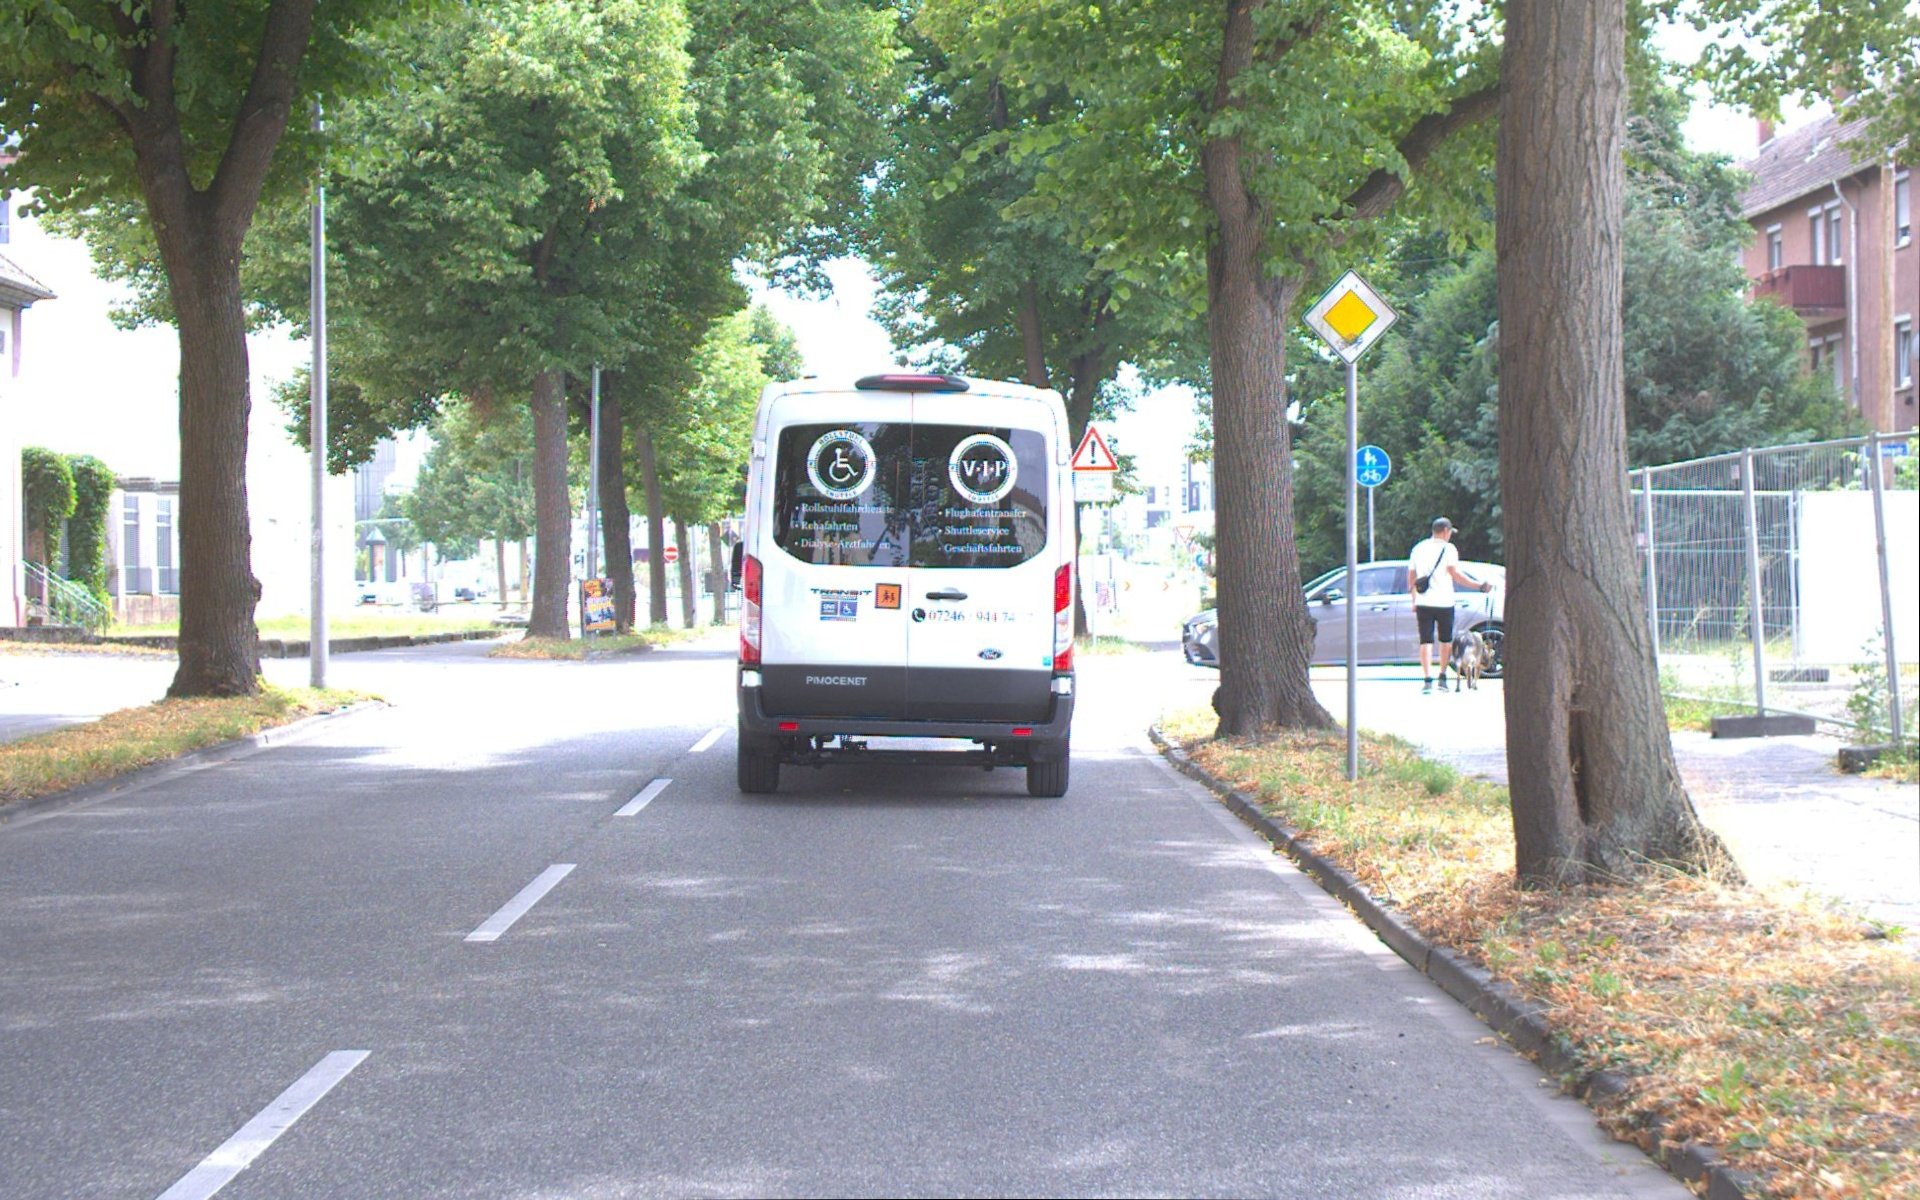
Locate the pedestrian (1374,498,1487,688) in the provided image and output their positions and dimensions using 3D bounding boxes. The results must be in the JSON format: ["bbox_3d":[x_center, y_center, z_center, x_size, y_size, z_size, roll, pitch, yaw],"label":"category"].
[{"bbox_3d":[4.587,-0.071,33.505,0.883,1.808,0.888,-2,0,18],"label":"pedestrian"}]

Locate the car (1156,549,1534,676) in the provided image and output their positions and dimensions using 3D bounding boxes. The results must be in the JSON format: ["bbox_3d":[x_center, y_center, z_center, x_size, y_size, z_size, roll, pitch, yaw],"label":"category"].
[{"bbox_3d":[4.623,0.176,41.769,4.371,1.438,2.011,-1,-2,1],"label":"car"}]

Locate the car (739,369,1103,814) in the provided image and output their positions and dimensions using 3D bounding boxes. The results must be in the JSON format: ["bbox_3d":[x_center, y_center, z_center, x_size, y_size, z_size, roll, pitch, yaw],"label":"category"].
[{"bbox_3d":[-0.348,-0.105,21.620,2.062,2.531,4.001,0,2,-4],"label":"car"}]

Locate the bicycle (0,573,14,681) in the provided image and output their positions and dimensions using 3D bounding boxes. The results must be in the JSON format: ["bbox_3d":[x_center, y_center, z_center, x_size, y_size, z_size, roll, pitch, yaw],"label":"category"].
[{"bbox_3d":[-10.097,0.268,34.195,0.722,1.091,2.225,4,1,-1],"label":"bicycle"}]
